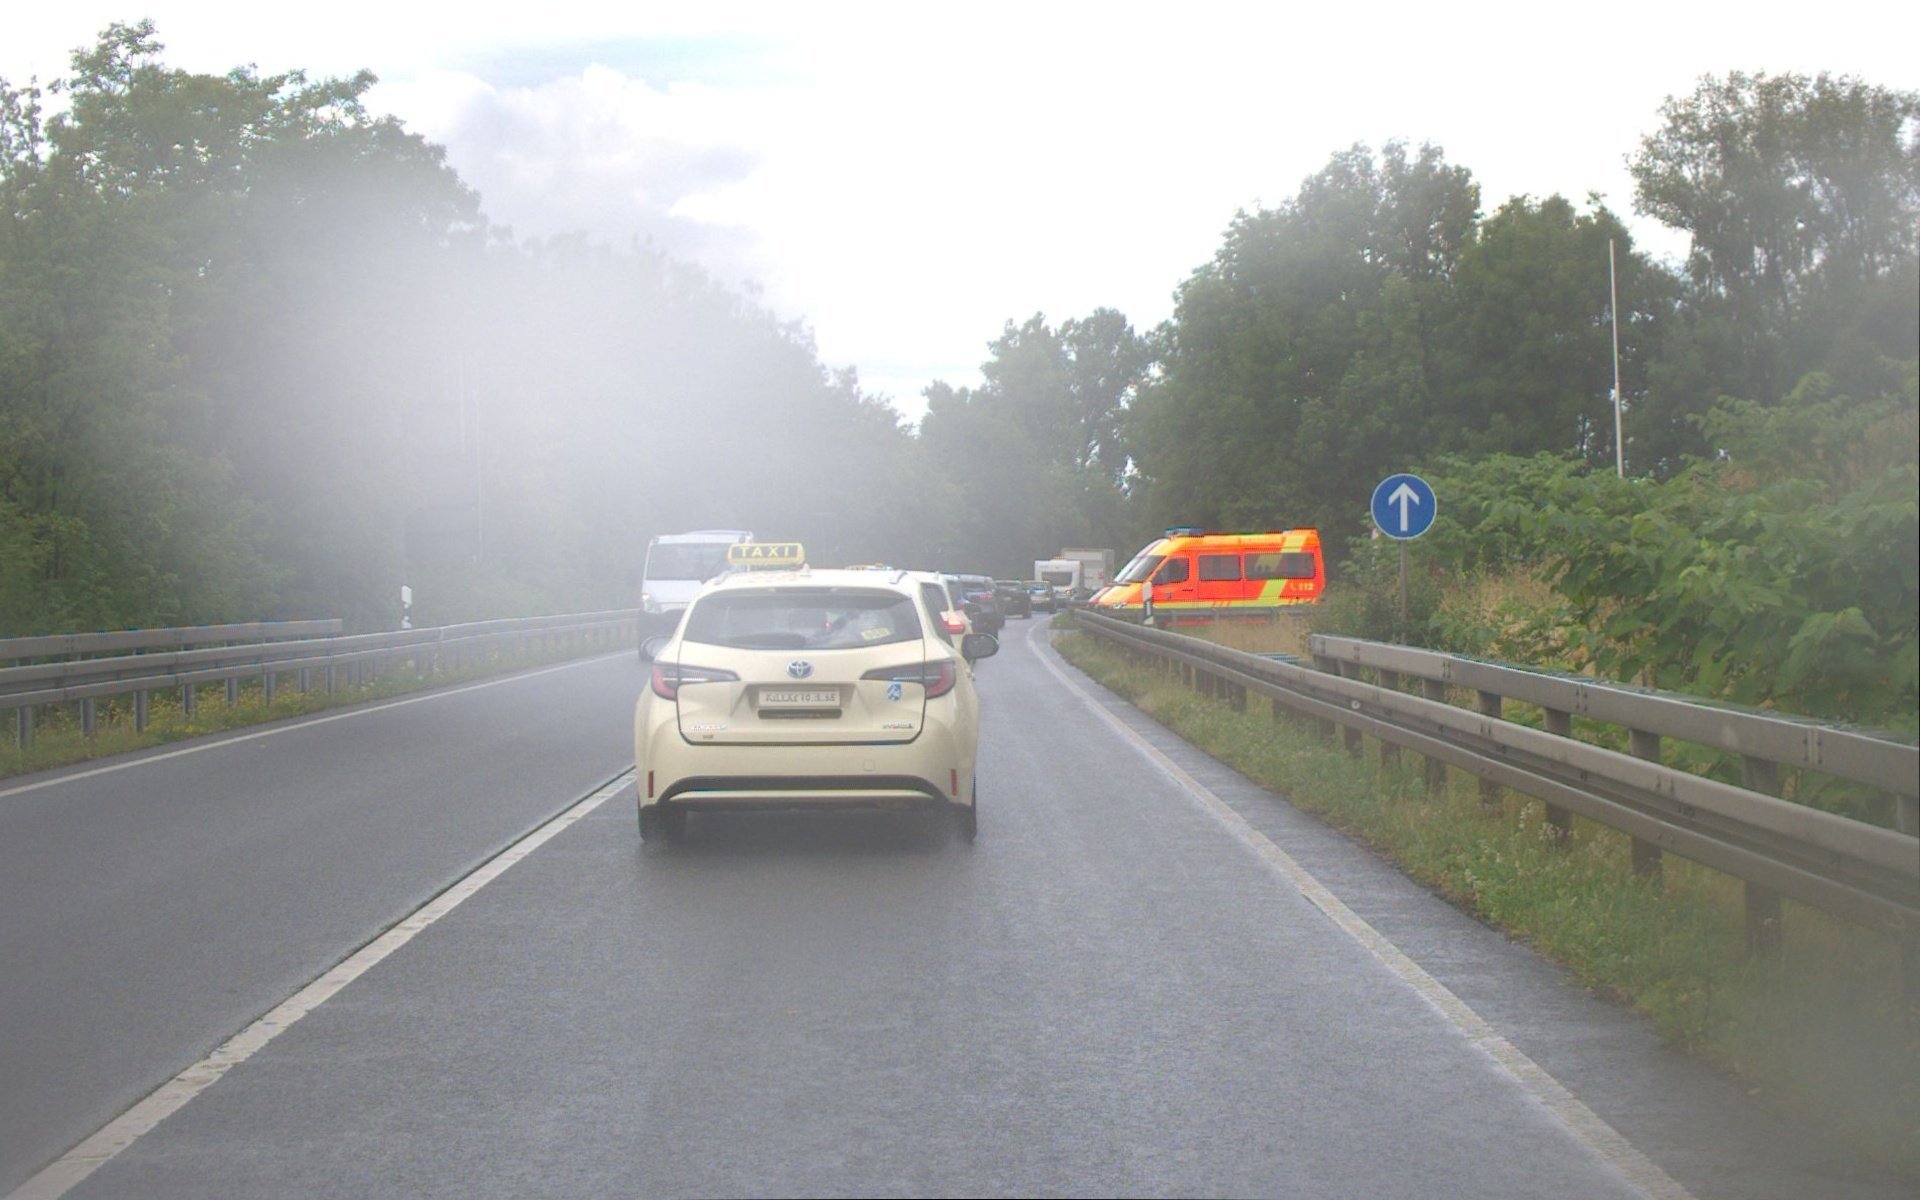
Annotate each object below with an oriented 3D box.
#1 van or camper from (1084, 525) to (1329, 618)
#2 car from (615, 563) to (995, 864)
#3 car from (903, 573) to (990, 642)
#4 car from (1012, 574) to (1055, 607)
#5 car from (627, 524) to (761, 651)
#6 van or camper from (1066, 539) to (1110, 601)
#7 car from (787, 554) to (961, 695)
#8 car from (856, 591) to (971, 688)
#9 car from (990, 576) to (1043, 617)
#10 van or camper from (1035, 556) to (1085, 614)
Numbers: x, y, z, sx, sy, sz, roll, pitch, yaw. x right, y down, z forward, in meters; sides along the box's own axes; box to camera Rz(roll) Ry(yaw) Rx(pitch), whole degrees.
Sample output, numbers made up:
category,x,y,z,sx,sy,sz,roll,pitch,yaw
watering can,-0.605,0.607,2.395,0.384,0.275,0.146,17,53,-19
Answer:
category,x,y,z,sx,sy,sz,roll,pitch,yaw
van or camper,6.087,-0.705,84.959,5.676,2.234,2.021,0,1,-15
car,-0.814,0.539,18.949,1.854,1.389,4.171,0,2,-1
car,-0.333,0.149,77.775,1.854,1.438,4.171,0,2,-1
car,3.346,-0.438,155.219,1.854,1.438,4.171,0,1,2
car,-4.606,-0.263,60.151,1.993,2.121,4.895,0,1,0
van or camper,7.432,-1.784,200.237,2.332,3.550,6.307,0,1,0
car,-0.975,0.233,38.961,1.854,1.438,4.171,0,2,-1
car,-0.802,0.638,57.859,1.854,1.438,4.171,0,2,-1
car,2.098,-0.150,127.279,1.854,1.438,4.171,0,1,2
van or camper,5.063,-0.776,175.085,2.332,2.854,6.307,0,1,0
